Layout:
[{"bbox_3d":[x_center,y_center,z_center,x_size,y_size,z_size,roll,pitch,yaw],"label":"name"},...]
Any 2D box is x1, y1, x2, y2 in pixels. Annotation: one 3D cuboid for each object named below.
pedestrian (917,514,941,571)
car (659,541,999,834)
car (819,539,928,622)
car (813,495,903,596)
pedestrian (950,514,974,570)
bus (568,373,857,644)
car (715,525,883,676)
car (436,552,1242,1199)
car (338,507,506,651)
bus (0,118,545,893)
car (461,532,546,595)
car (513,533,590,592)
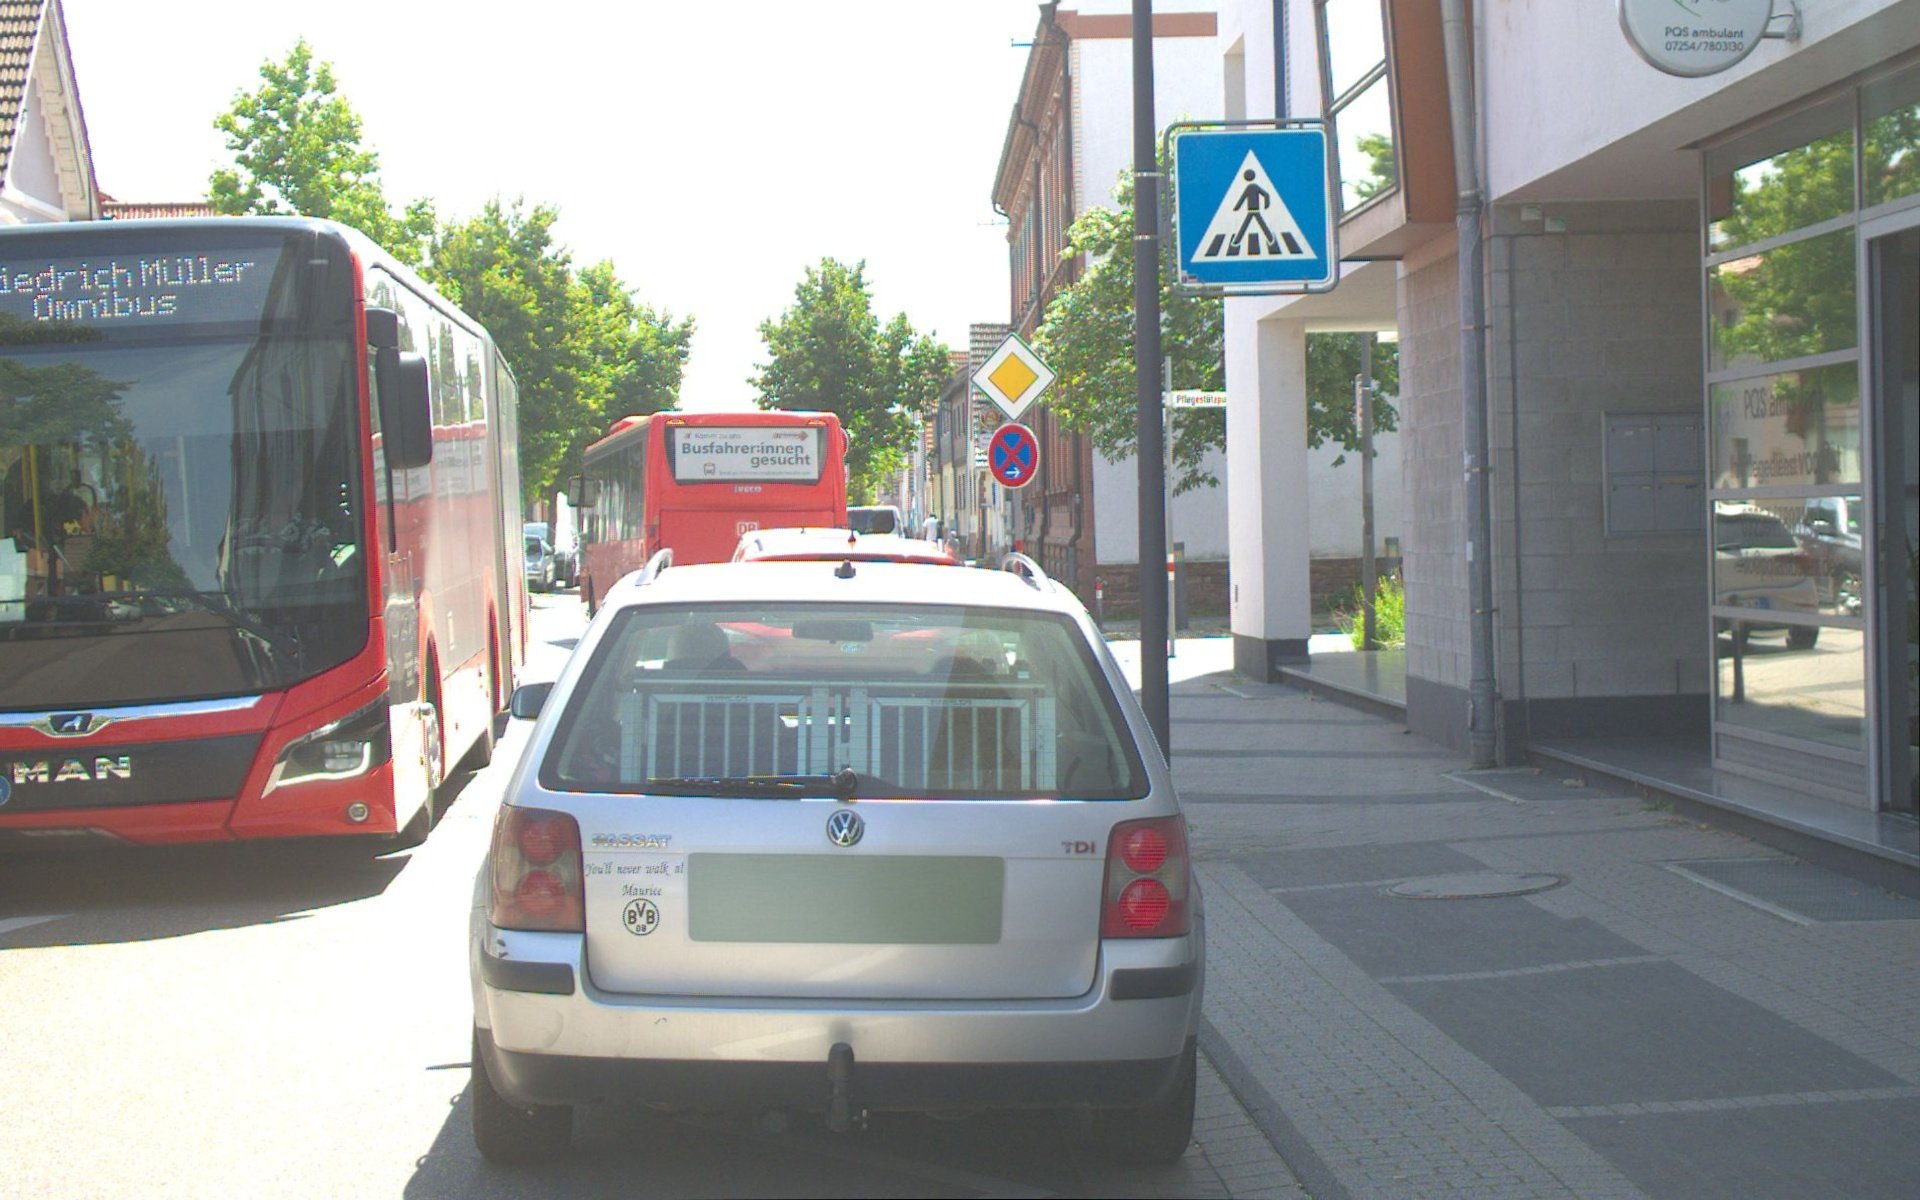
[{"bbox_3d":[-0.918,-1.709,101.773,0.606,1.661,0.789,-1,1,-4],"label":"pedestrian"},{"bbox_3d":[-0.743,0.408,19.183,1.677,1.425,3.680,-1,1,-3],"label":"car"},{"bbox_3d":[-1.487,-0.345,57.880,1.719,1.304,3.626,-1,1,-3],"label":"car"},{"bbox_3d":[-2.193,-1.171,73.223,1.787,2.075,3.626,-1,1,-3],"label":"car"},{"bbox_3d":[0.060,-1.728,102.274,0.606,1.661,0.789,-1,1,-4],"label":"pedestrian"},{"bbox_3d":[-3.721,-1.224,48.254,2.739,3.287,12.709,-1,1,-10],"label":"bus"},{"bbox_3d":[-1.581,-0.034,34.451,1.593,1.425,3.680,0,1,-2],"label":"car"},{"bbox_3d":[-0.337,0.613,9.091,1.677,1.425,3.680,1,1,-3],"label":"car"},{"bbox_3d":[-6.786,-0.300,43.670,1.674,1.710,4.233,-1,1,-3],"label":"car"},{"bbox_3d":[-4.428,-0.544,22.802,2.668,3.113,17.810,-1,1,-5],"label":"bus"},{"bbox_3d":[-11.765,-0.963,88.841,1.811,1.553,4.001,-1,1,-3],"label":"car"},{"bbox_3d":[-11.289,-1.062,95.267,1.811,1.553,4.001,-1,1,-3],"label":"car"}]
